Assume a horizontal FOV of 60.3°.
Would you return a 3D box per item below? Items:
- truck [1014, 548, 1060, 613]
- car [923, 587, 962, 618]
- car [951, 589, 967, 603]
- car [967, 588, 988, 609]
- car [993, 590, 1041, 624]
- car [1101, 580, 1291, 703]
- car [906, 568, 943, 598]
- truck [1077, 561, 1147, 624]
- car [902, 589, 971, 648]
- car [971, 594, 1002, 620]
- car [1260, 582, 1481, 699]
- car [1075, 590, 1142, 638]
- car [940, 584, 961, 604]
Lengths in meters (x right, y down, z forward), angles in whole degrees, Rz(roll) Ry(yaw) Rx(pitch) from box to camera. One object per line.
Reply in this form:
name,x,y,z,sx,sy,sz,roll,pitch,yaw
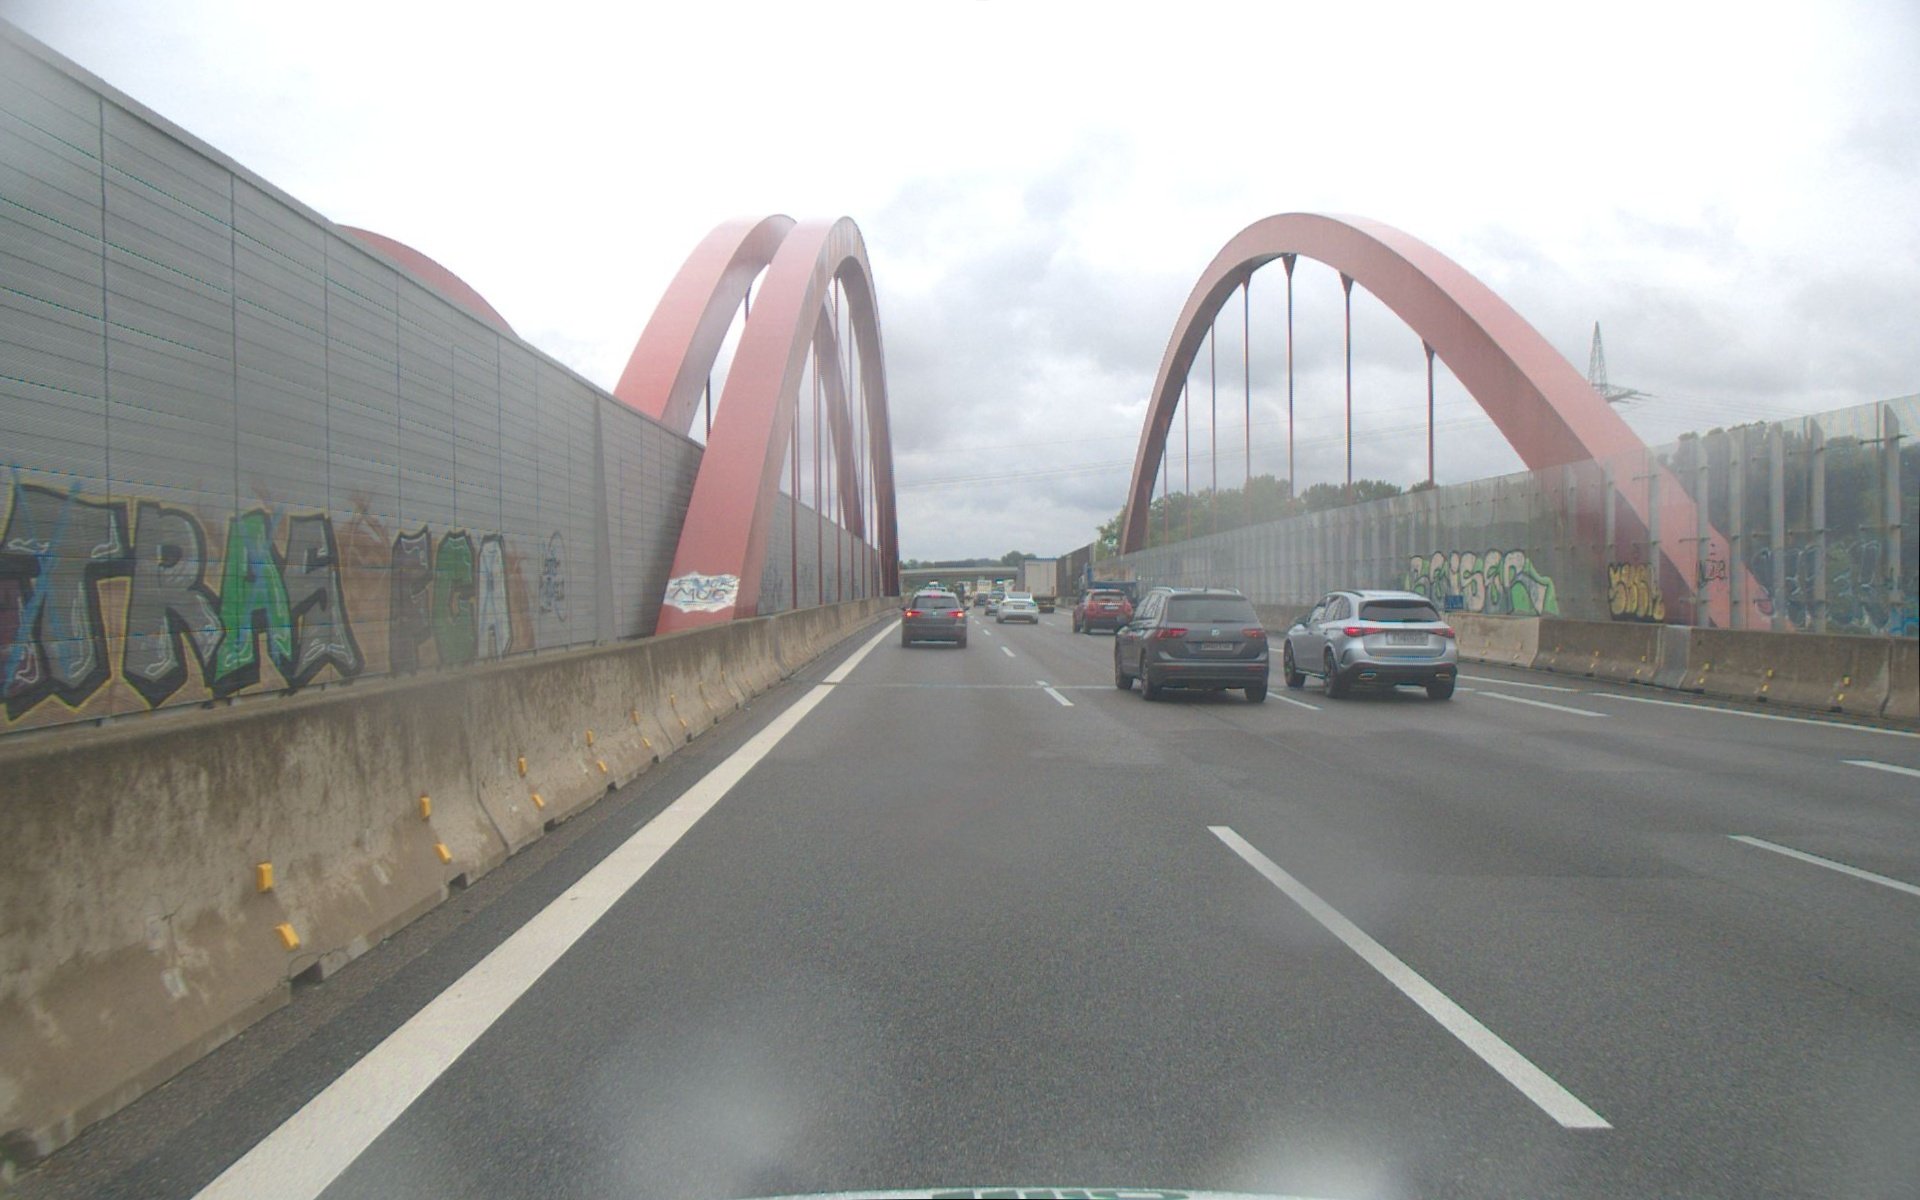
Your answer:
truck,5.843,-1.464,126.846,2.983,4.817,7.678,1,0,-1
car,-0.853,0.114,78.688,1.746,1.431,3.625,0,0,-2
car,-0.100,-0.527,201.907,1.952,1.652,4.001,0,0,1
car,1.747,-0.120,168.451,1.953,2.049,3.999,1,0,-1
car,2.599,0.293,76.210,1.953,1.512,3.998,0,0,-2
car,3.455,0.564,24.981,1.875,1.699,4.098,0,0,-6
car,-1.988,-0.936,92.189,1.953,1.612,3.998,-1,1,-2
truck,6.435,-0.326,70.835,2.313,2.550,6.142,1,0,-1
car,-0.627,0.454,43.955,1.728,1.478,3.999,1,0,-1
car,1.640,0.426,103.672,1.668,1.570,3.836,1,0,-3
car,6.410,0.570,26.543,1.954,1.647,5.324,1,0,-3
car,5.331,0.470,59.728,1.918,1.676,3.998,0,0,-2
car,-0.940,-0.595,162.696,1.953,1.847,3.999,1,0,-1
